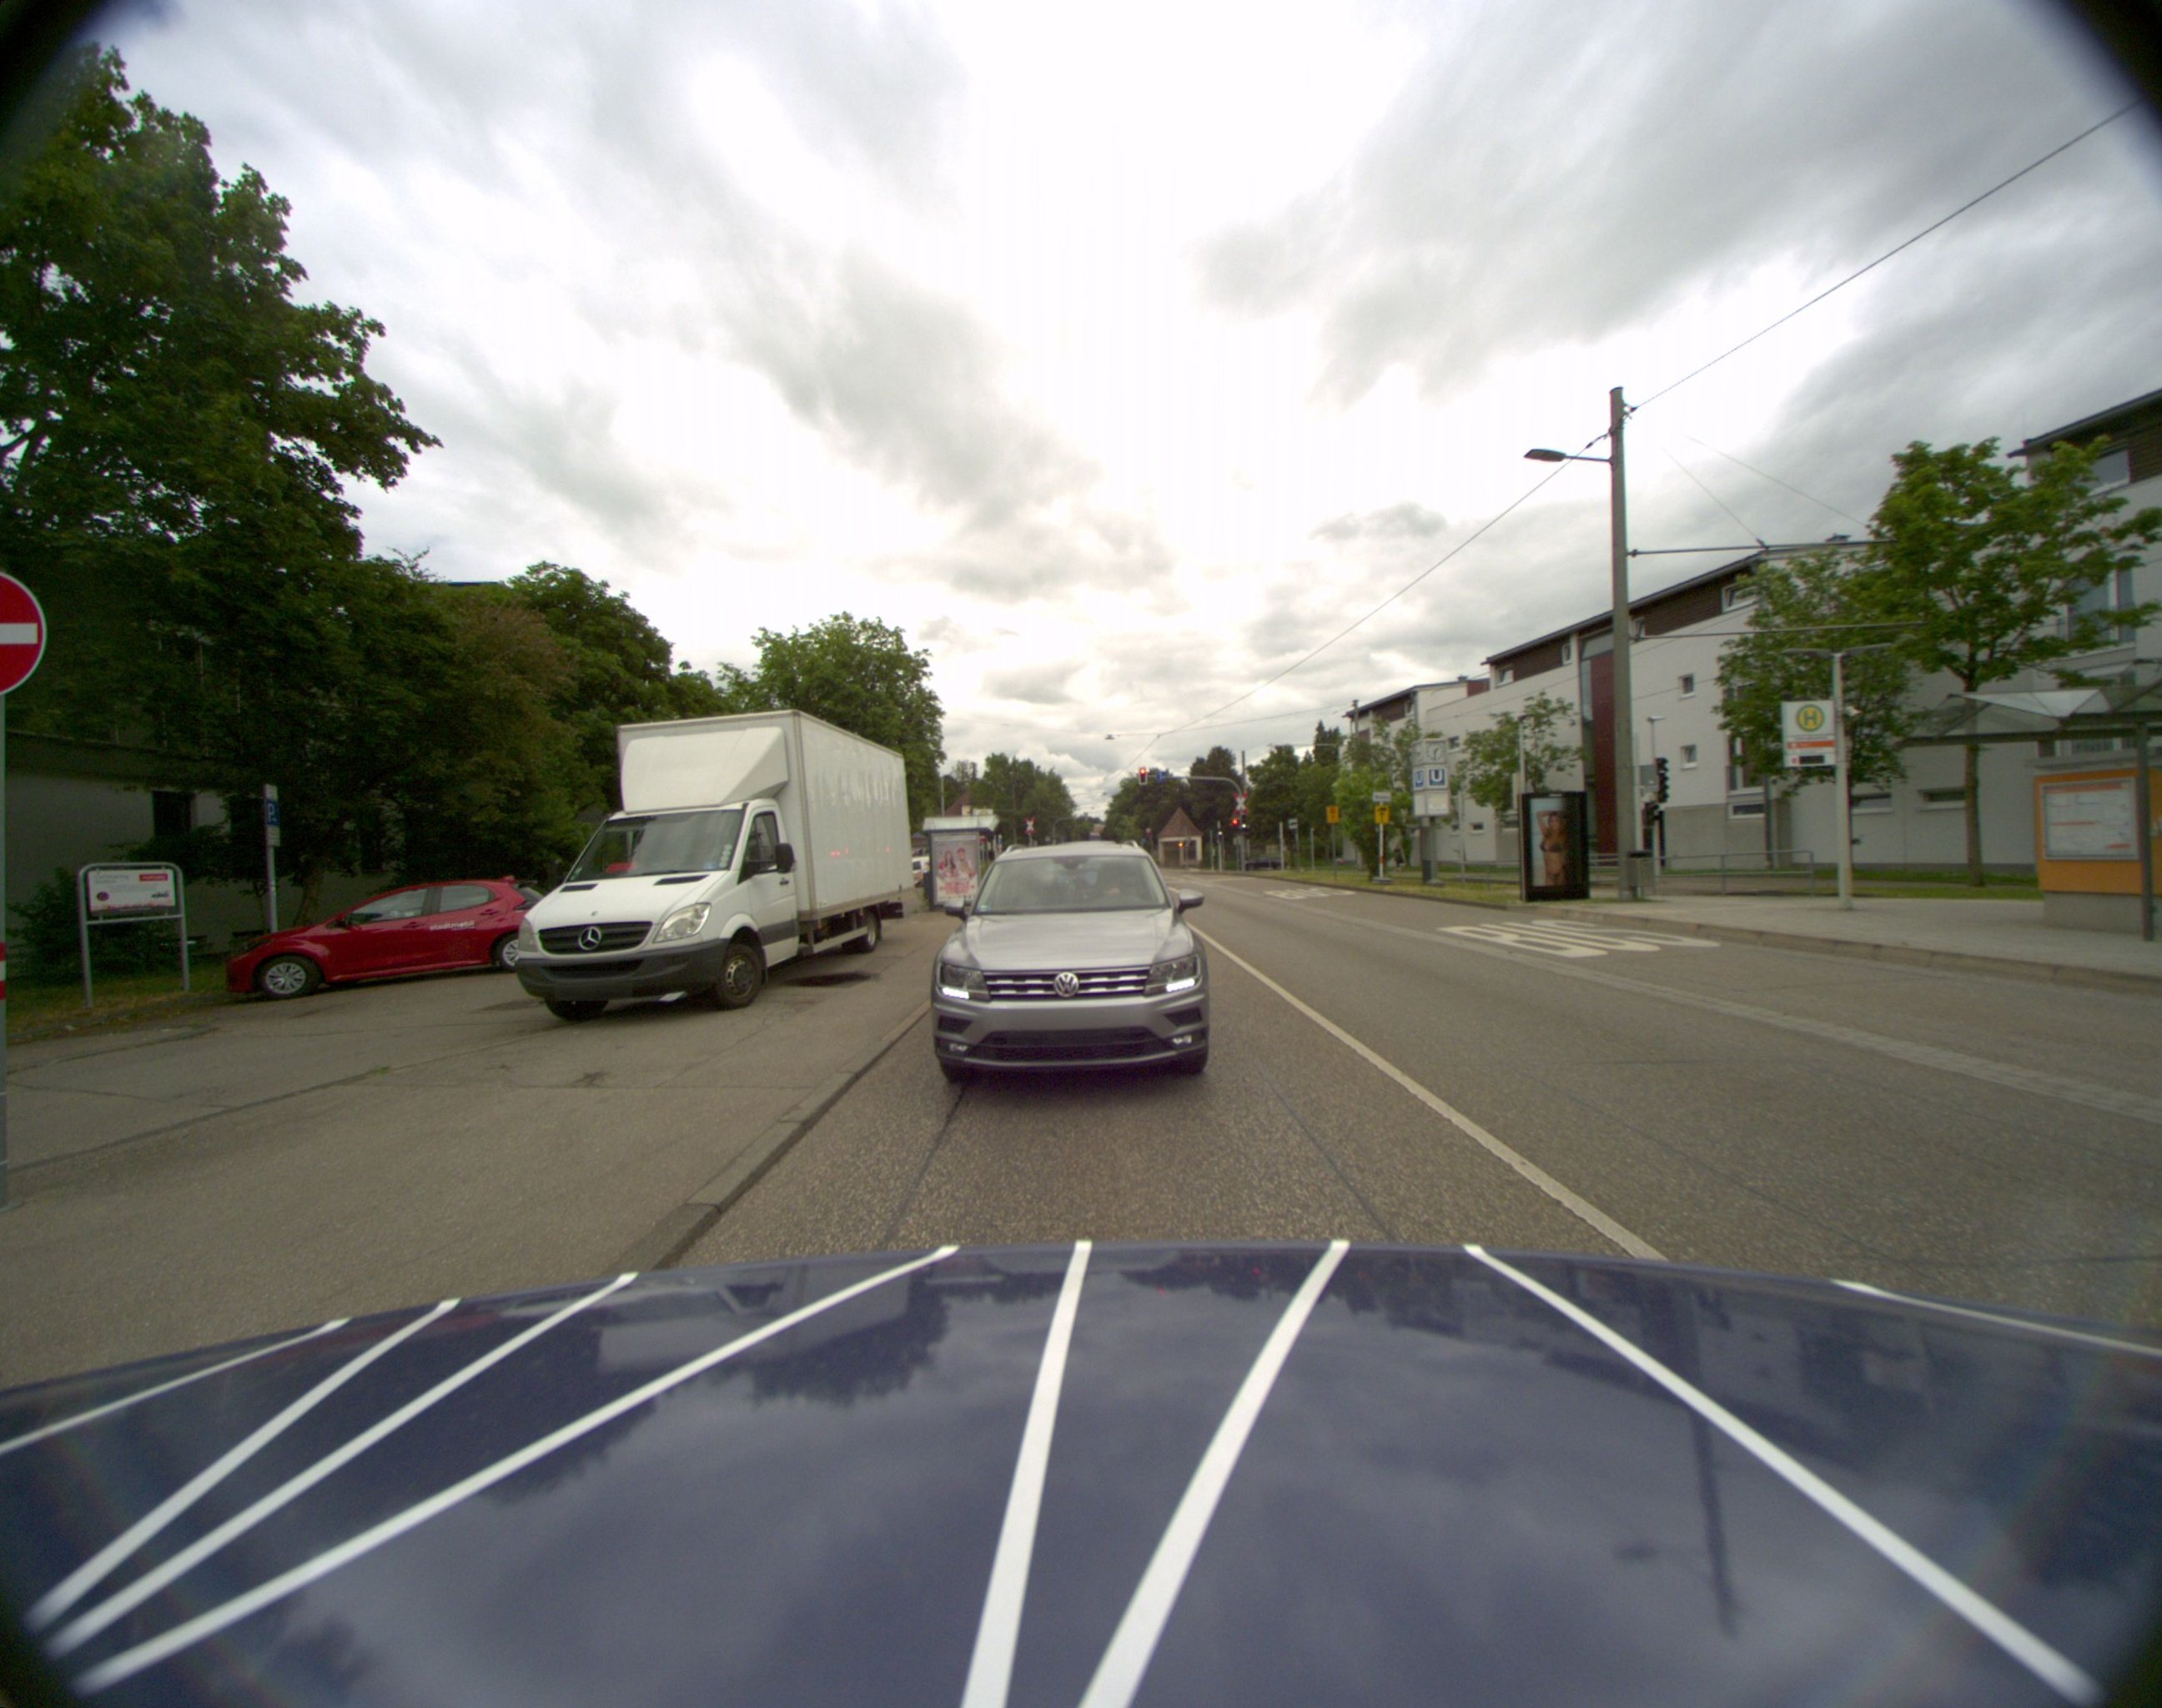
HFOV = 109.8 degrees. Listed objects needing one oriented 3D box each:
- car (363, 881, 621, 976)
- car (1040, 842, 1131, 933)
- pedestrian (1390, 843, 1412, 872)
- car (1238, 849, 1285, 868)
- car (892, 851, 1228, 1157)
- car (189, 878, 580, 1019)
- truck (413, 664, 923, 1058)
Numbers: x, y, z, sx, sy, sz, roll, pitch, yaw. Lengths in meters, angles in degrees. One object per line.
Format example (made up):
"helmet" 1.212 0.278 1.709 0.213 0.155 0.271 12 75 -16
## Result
"car" -11.950 1.445 15.788 4.005 1.402 1.521 -5 2 -31
"car" 0.113 0.693 18.017 1.849 1.850 4.000 -2 0 1
"pedestrian" 17.743 0.189 42.176 0.782 1.586 0.780 -2 1 -8
"car" 17.501 0.436 73.898 3.998 1.696 1.928 -2 1 -3
"car" -0.088 0.834 6.404 1.811 1.638 4.330 -2 0 1
"car" -10.050 1.272 11.413 3.902 1.475 1.680 -5 2 -24
"truck" -4.469 0.019 10.632 2.541 3.407 7.775 -2 1 2
